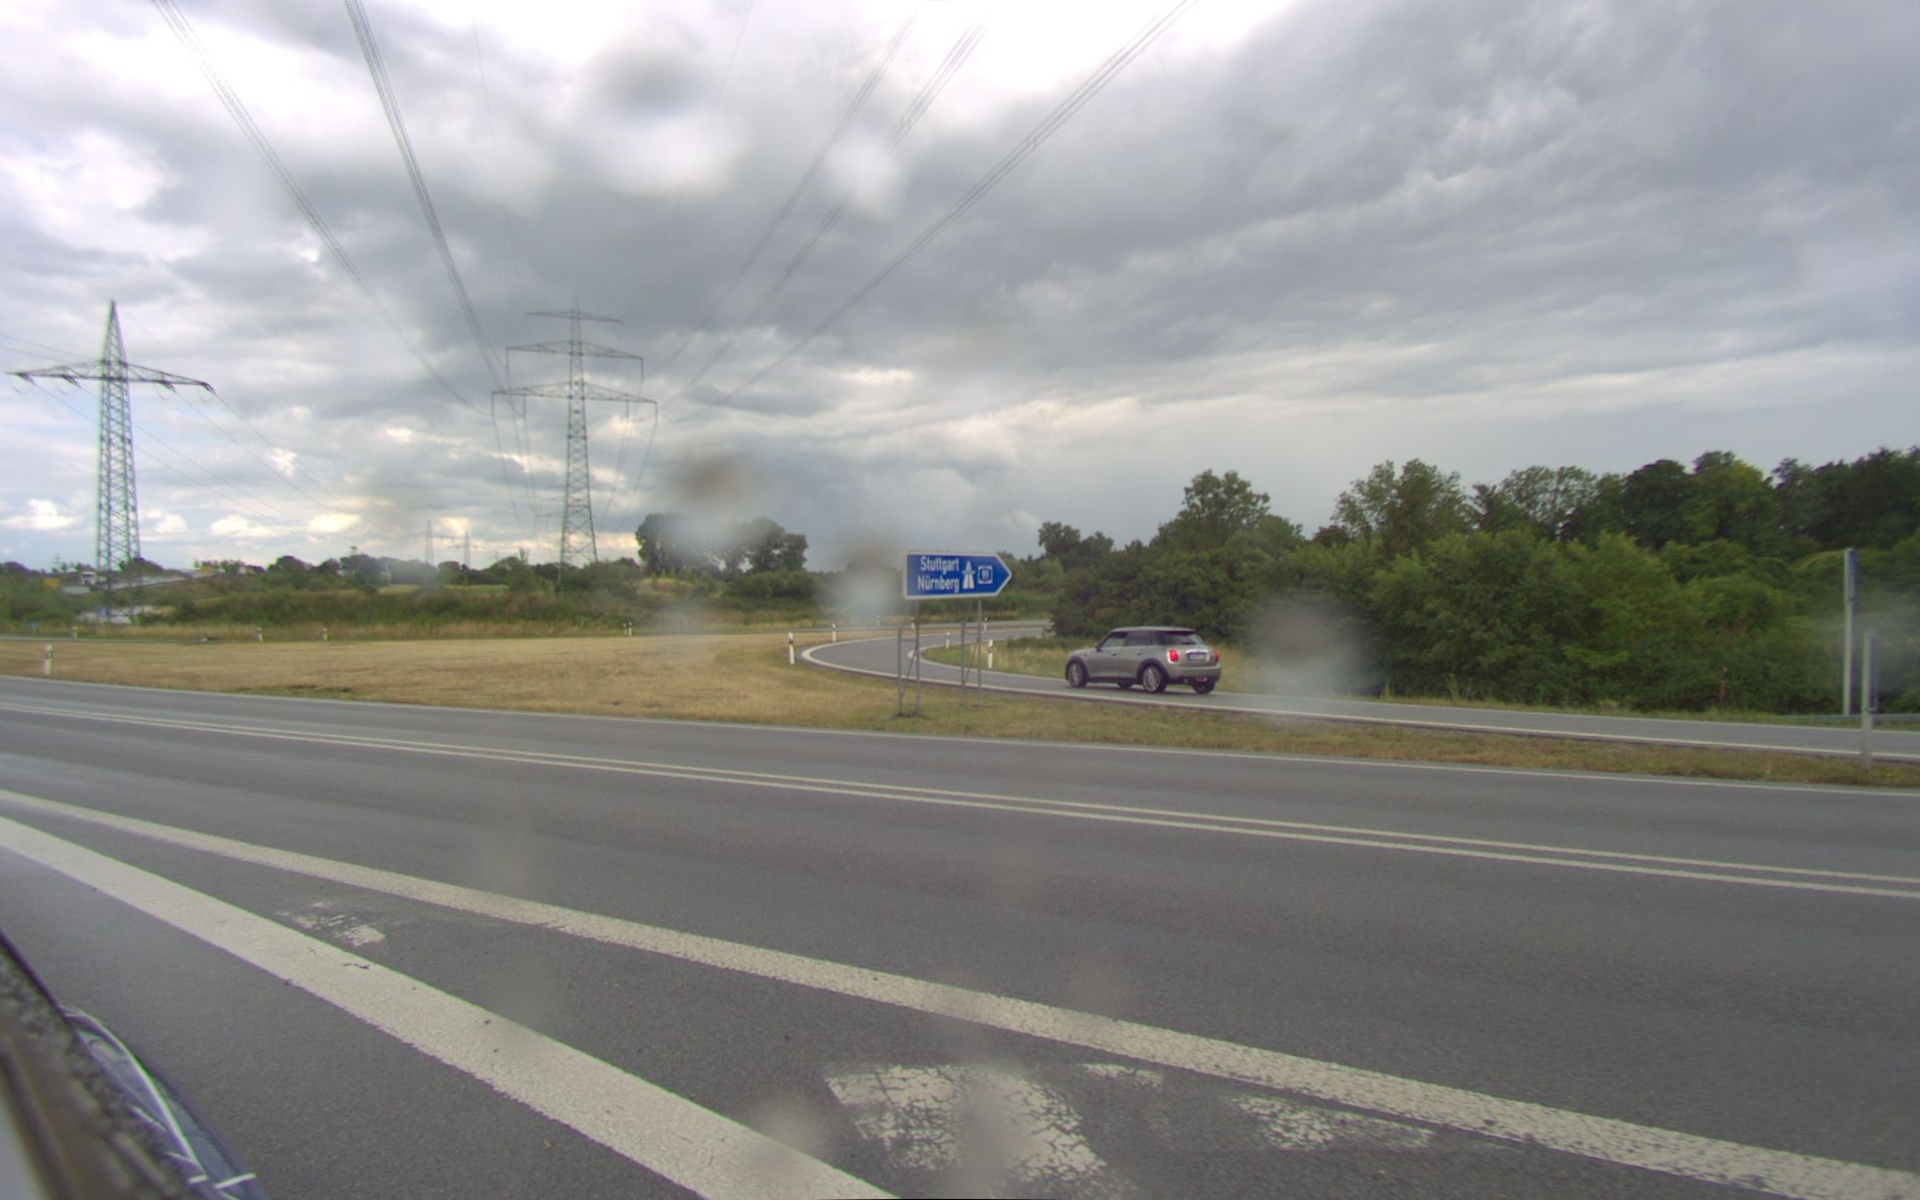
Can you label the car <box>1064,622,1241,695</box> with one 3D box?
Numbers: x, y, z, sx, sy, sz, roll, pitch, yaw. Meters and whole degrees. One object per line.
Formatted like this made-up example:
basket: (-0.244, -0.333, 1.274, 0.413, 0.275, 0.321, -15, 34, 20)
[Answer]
car: (4.199, 1.231, 22.581, 1.713, 1.449, 3.782, 1, -1, -34)
